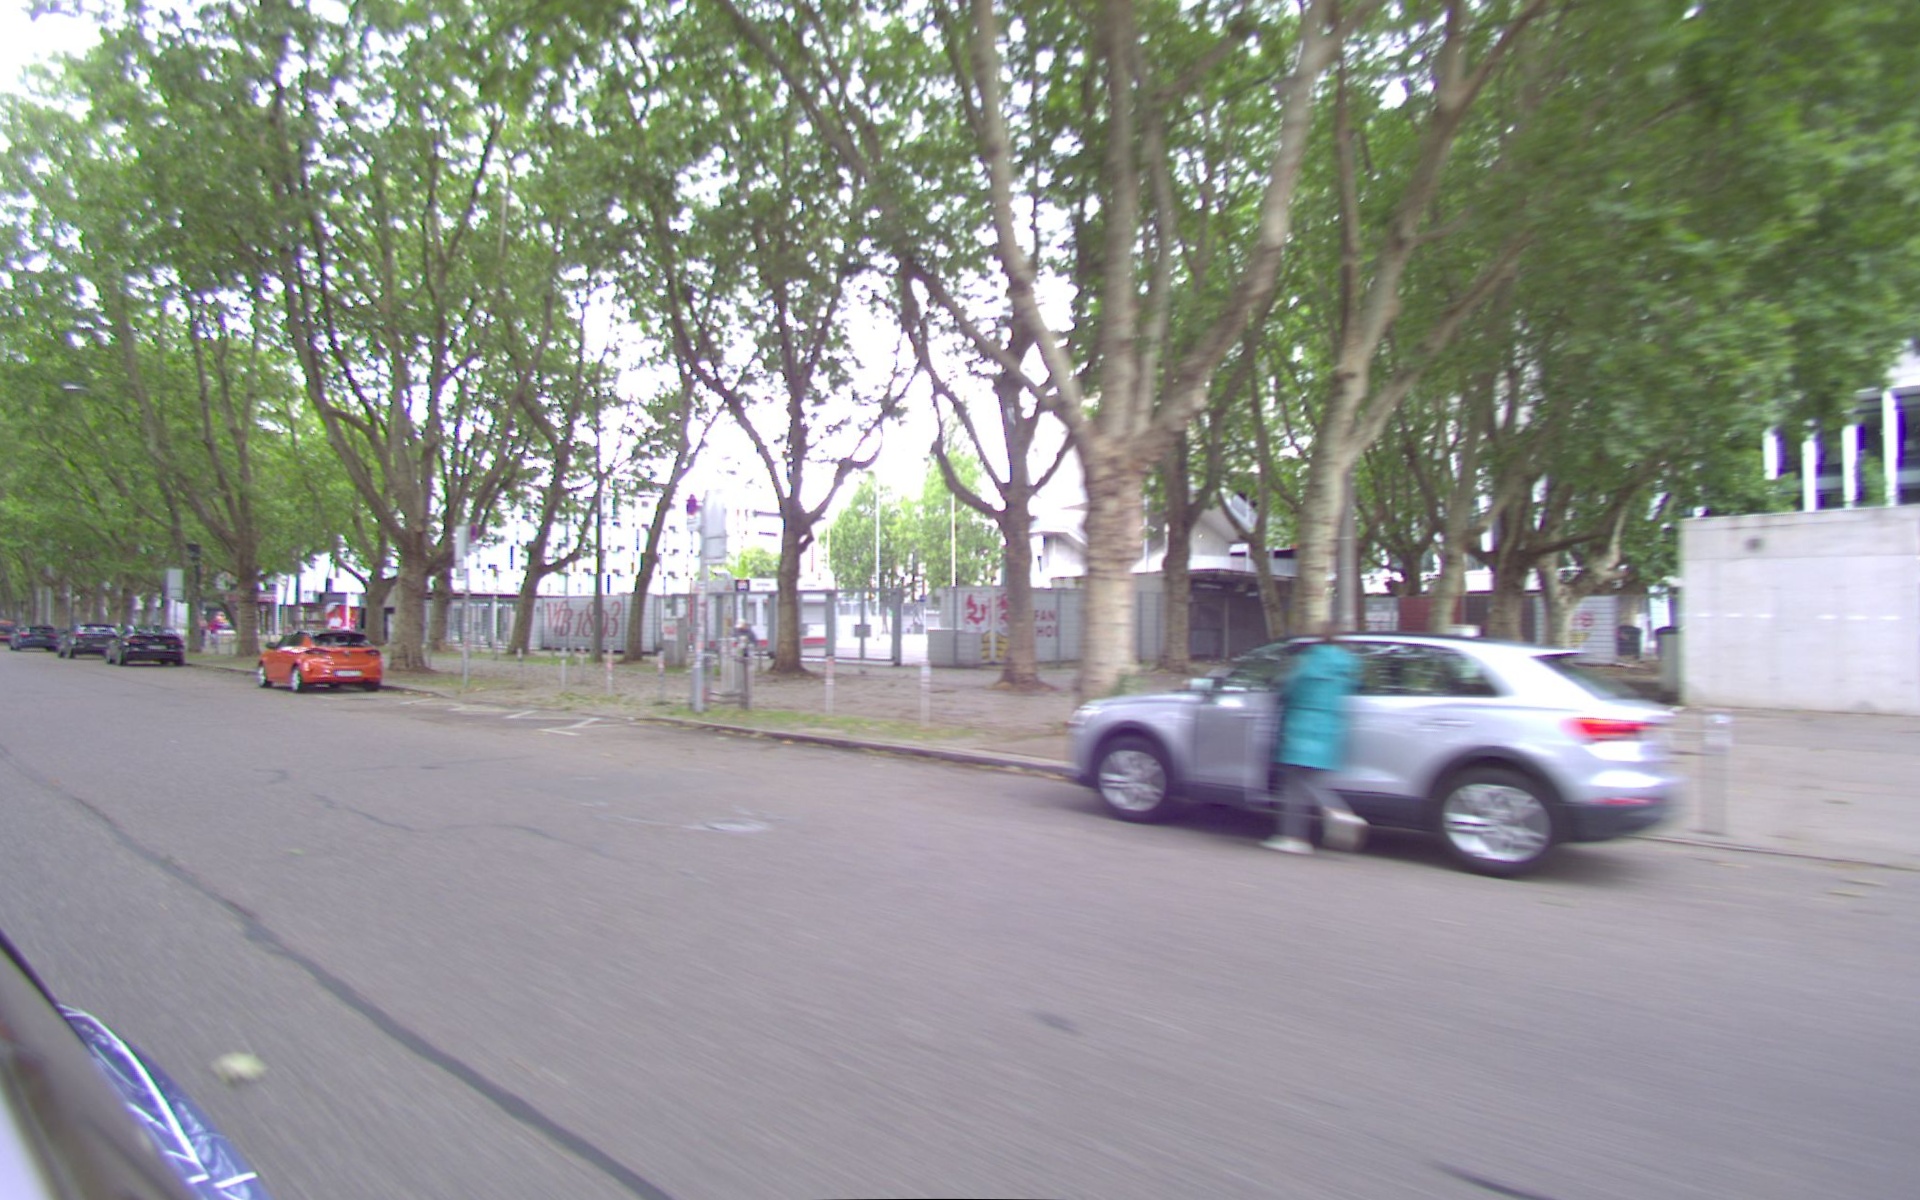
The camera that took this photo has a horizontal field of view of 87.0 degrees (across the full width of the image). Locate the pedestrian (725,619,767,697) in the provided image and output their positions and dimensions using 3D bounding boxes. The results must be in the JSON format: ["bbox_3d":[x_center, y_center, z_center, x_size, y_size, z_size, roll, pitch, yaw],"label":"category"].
[{"bbox_3d":[-4.597,1.231,21.755,0.585,1.632,0.793,1,-2,-40],"label":"pedestrian"}]

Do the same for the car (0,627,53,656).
[{"bbox_3d":[-50.581,2.243,54.748,4.572,1.497,1.706,-2,-2,41],"label":"car"}]

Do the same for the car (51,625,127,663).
[{"bbox_3d":[-37.190,1.860,43.196,4.149,1.538,1.858,-1,-3,41],"label":"car"}]

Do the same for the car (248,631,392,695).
[{"bbox_3d":[-15.030,1.421,23.701,3.998,1.364,1.789,-1,-2,42],"label":"car"}]

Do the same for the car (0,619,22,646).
[{"bbox_3d":[-63.724,2.125,66.906,4.635,1.764,1.929,-1,-4,41],"label":"car"}]

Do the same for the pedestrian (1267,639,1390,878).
[{"bbox_3d":[2.459,1.007,6.748,0.567,1.477,0.577,-2,-1,44],"label":"pedestrian"}]

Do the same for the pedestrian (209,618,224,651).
[{"bbox_3d":[-40.210,1.853,54.735,0.567,1.755,0.769,1,-2,-34],"label":"pedestrian"}]

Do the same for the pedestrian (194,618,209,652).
[{"bbox_3d":[-40.763,1.872,54.415,0.569,1.783,0.769,1,-2,-34],"label":"pedestrian"}]

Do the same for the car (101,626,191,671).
[{"bbox_3d":[-28.796,1.688,35.749,4.628,1.477,1.807,-1,-4,43],"label":"car"}]

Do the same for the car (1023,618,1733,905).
[{"bbox_3d":[2.988,0.957,7.939,4.754,1.575,2.051,-1,-2,42],"label":"car"}]
